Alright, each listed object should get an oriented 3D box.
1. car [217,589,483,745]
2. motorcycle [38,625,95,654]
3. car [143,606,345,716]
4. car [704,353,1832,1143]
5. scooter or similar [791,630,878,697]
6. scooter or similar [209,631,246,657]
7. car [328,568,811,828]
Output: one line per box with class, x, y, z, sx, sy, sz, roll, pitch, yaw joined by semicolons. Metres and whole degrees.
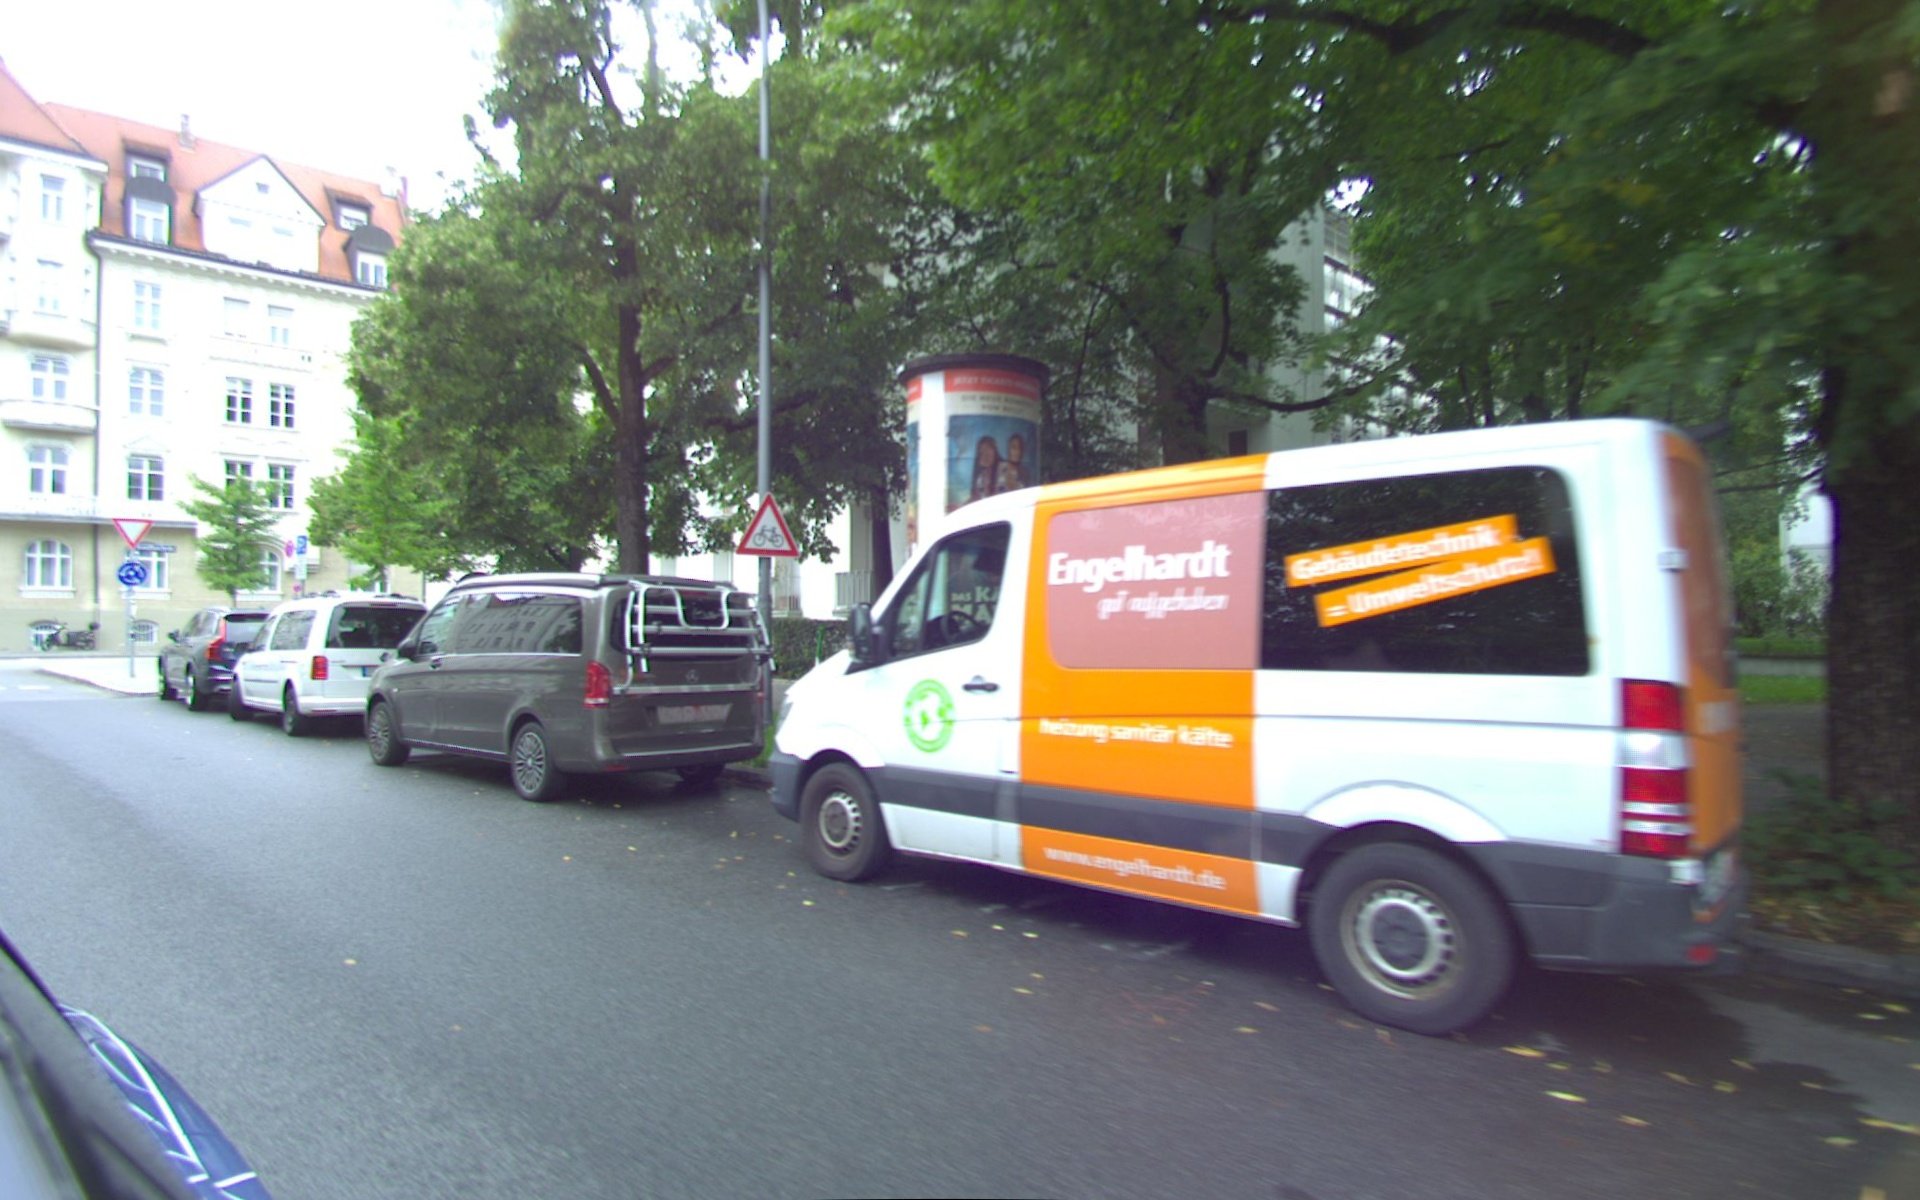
car;-9.050;0.879;14.830;4.858;1.918;2.061;-1;-2;43
motorcycle;-37.783;1.677;42.802;0.742;1.195;1.720;-2;-2;44
car;-13.191;1.020;18.493;5.306;1.732;2.060;-1;-2;44
car;1.087;0.506;5.601;5.601;2.282;2.061;-1;-4;42
scooter or similar;-2.370;1.171;19.003;1.656;1.200;0.694;-1;-2;40
scooter or similar;-31.550;1.887;43.600;0.535;1.117;1.345;0;-2;3
car;-4.138;0.807;10.099;5.663;1.922;2.005;-1;-3;40
